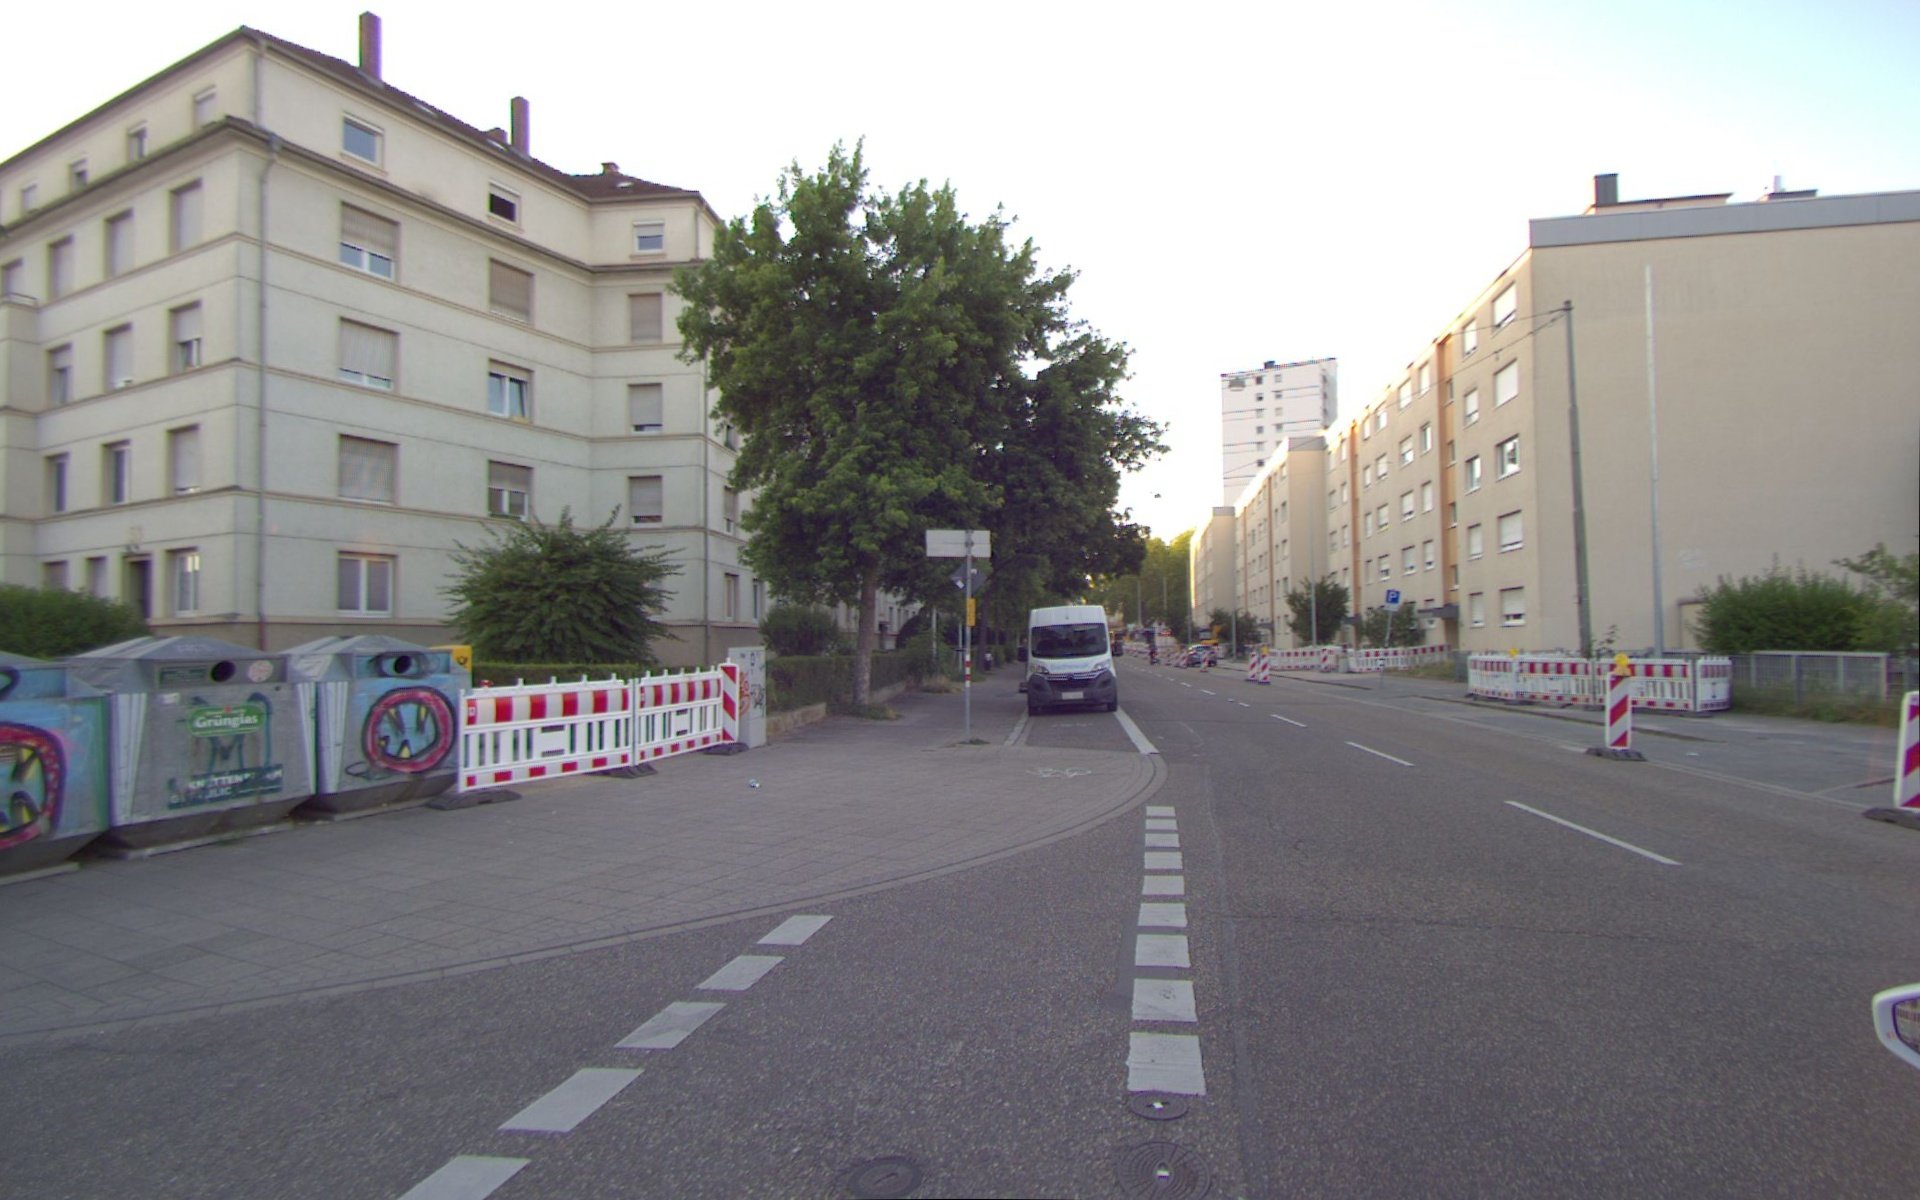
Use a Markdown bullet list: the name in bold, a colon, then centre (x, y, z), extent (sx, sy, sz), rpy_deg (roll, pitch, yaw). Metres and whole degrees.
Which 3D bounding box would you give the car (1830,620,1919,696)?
- **car**: centre (22.817, 1.303, 22.820), extent (4.140, 1.668, 2.002), rpy_deg (-1, -2, 10)

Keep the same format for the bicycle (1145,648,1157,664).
- **bicycle**: centre (14.380, 4.227, 75.700), extent (0.630, 1.129, 3.058), rpy_deg (-1, -2, 6)

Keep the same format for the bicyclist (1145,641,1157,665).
- **bicyclist**: centre (14.400, 3.991, 75.757), extent (0.778, 1.823, 1.018), rpy_deg (-1, -2, 6)

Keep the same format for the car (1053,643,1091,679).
- **car**: centre (5.503, 2.977, 49.355), extent (1.726, 1.624, 3.931), rpy_deg (-3, -3, 6)

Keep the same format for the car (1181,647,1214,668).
- **car**: centre (16.421, 3.987, 69.645), extent (1.749, 1.408, 4.003), rpy_deg (-1, -2, 6)

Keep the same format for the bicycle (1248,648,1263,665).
- **bicycle**: centre (20.037, 3.811, 68.090), extent (0.606, 1.121, 2.237), rpy_deg (-1, -2, 8)

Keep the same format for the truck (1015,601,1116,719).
- **truck**: centre (2.532, 1.397, 24.459), extent (2.065, 2.454, 6.050), rpy_deg (-2, -2, 5)

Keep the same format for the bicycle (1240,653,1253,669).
- **bicycle**: centre (21.116, 4.468, 74.063), extent (0.606, 1.121, 2.237), rpy_deg (-1, -2, 8)
